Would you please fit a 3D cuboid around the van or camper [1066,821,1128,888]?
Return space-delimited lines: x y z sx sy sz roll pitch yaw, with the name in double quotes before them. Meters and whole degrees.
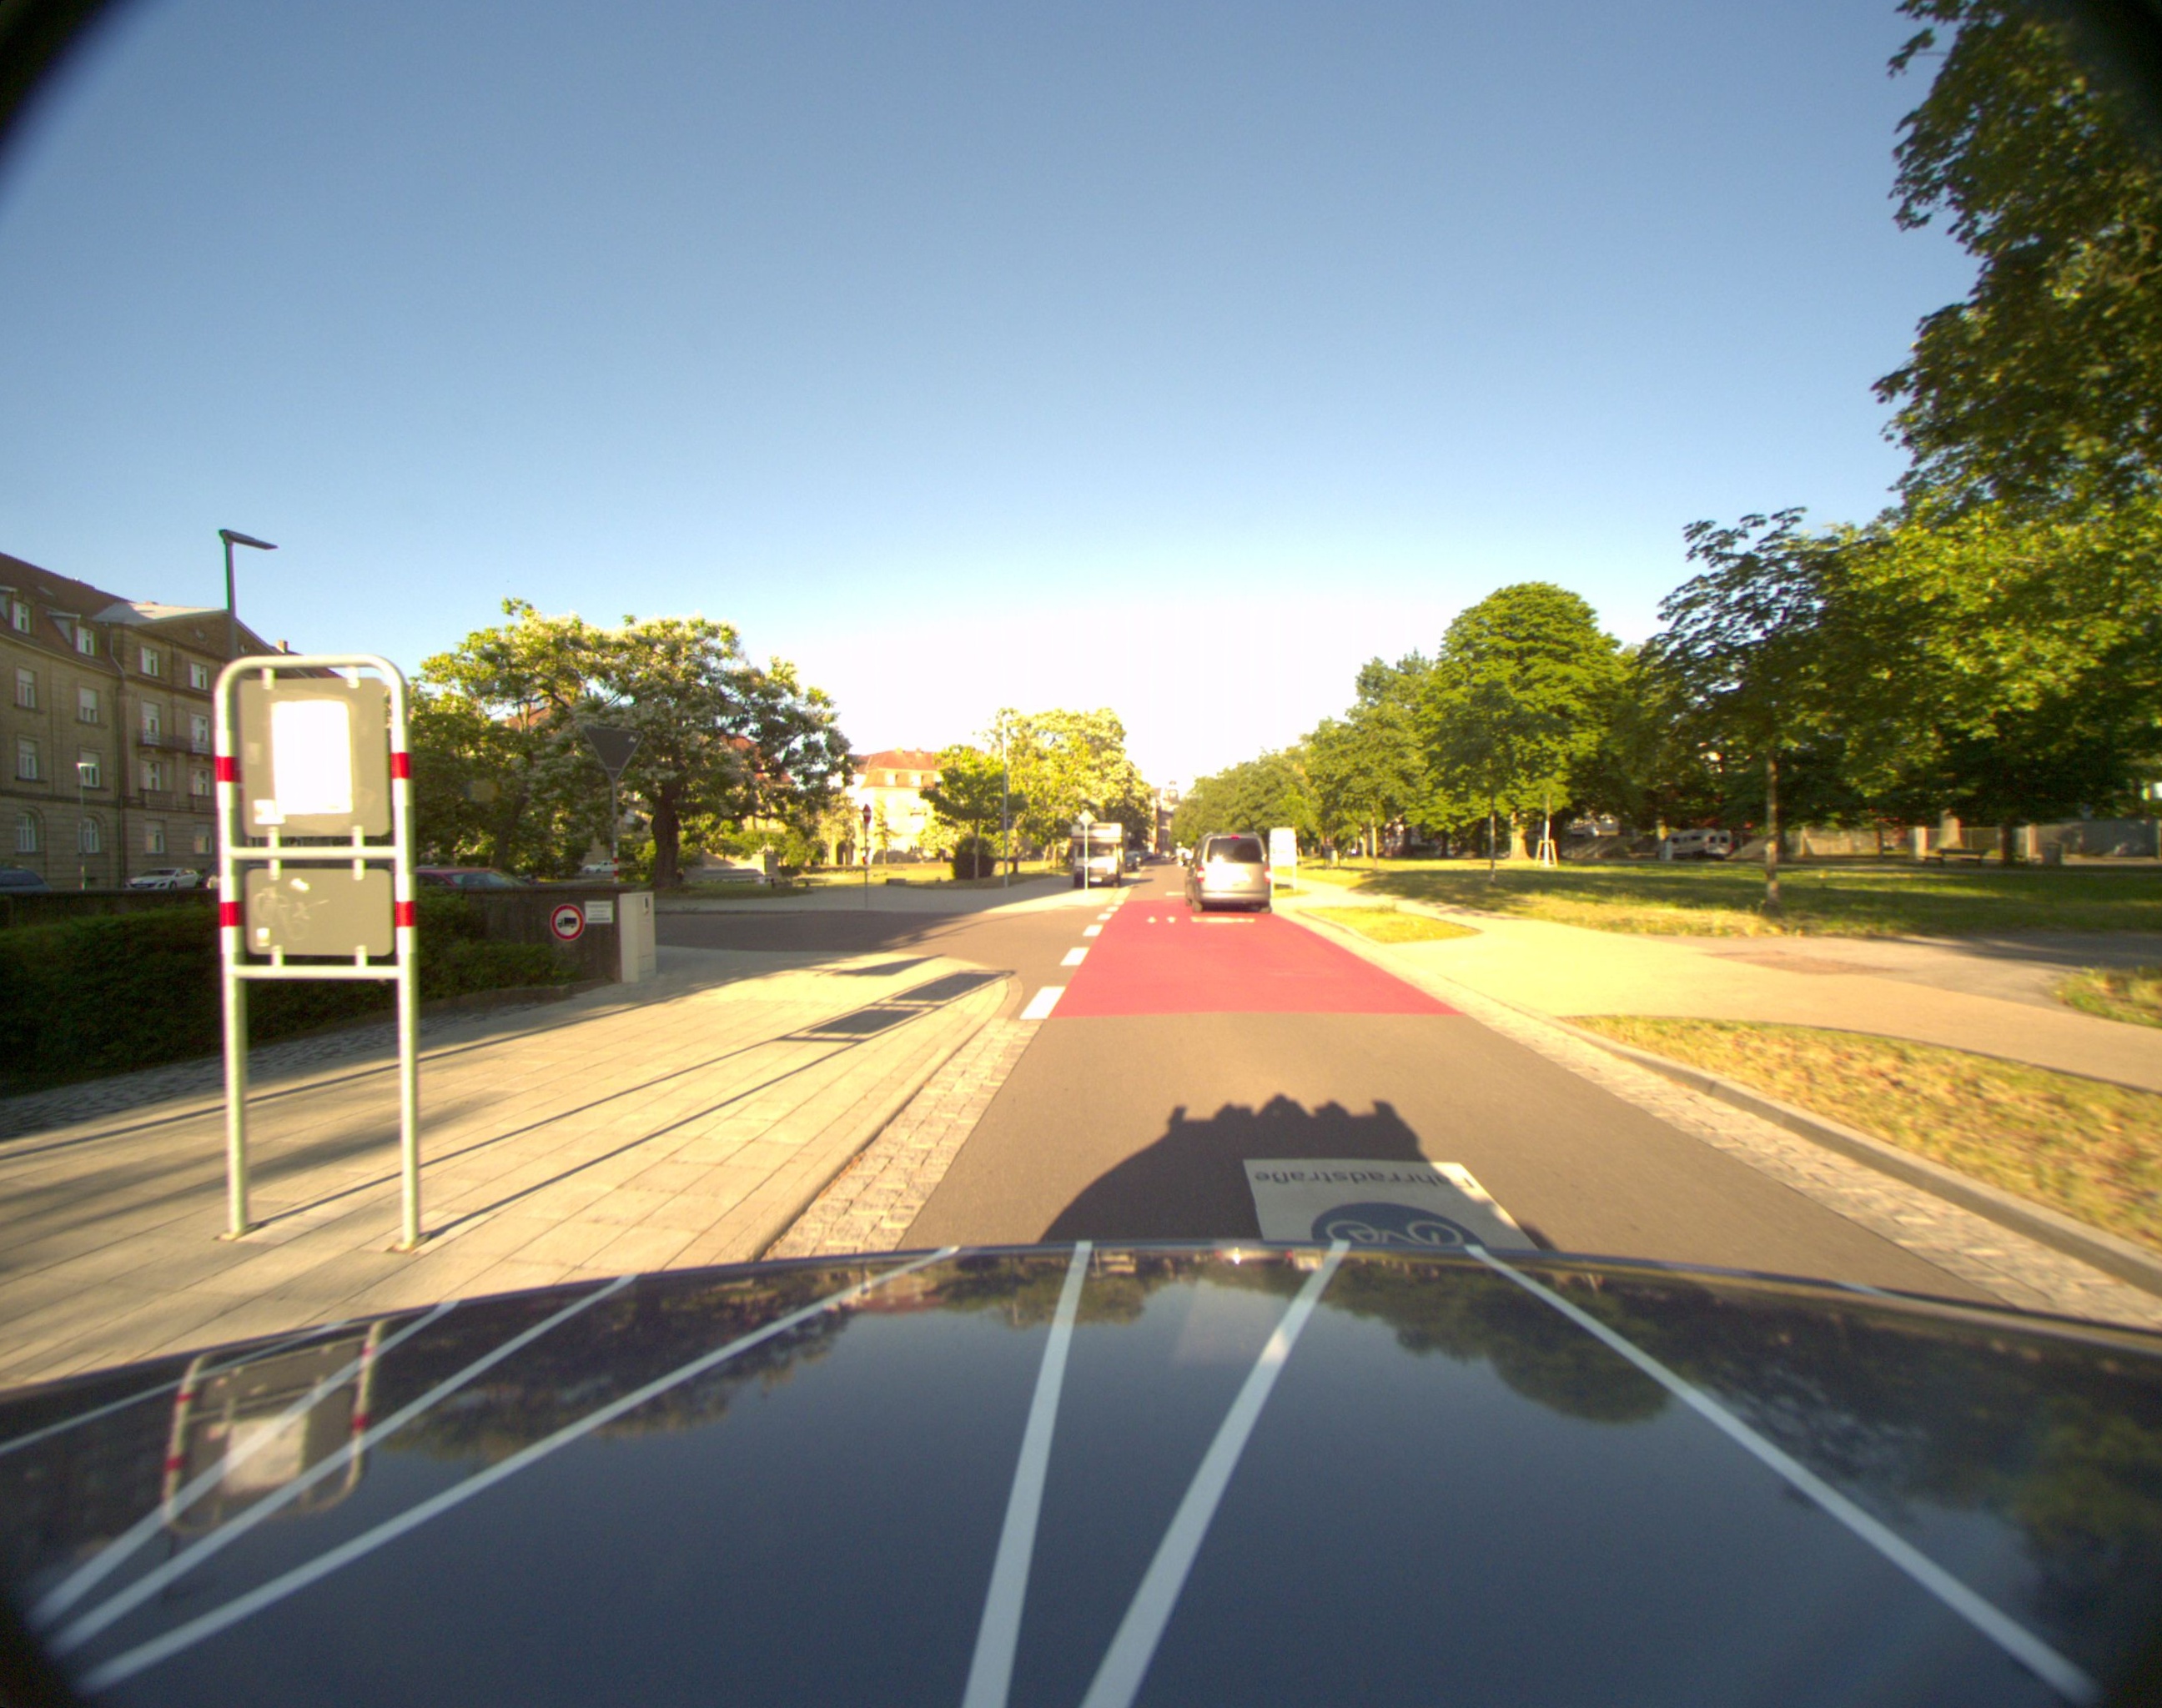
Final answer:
"van or camper" 0.852 -0.014 34.915 2.426 2.767 5.954 1 1 4

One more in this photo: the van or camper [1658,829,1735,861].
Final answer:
"van or camper" 49.206 -0.697 60.957 1.998 2.425 5.468 -2 0 4

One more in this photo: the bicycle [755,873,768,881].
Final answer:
"bicycle" -26.814 1.902 63.759 0.907 0.648 0.438 -2 0 -33

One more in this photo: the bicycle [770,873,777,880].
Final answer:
"bicycle" -26.021 1.926 64.312 0.488 0.579 0.438 -2 1 -33

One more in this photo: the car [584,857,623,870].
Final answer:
"car" -56.385 1.098 89.805 1.723 1.489 3.709 -2 -1 12

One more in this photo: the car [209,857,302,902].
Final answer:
"car" -31.085 0.970 28.585 3.694 1.617 1.730 -2 -1 32

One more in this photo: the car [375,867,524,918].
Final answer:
"car" -18.782 1.132 22.596 3.991 1.419 1.729 -2 -1 23

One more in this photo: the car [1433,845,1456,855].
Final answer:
"car" 54.546 -0.620 114.145 1.796 1.455 4.001 -2 0 5

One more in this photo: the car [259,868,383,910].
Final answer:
"car" -24.720 1.141 24.708 3.695 1.289 1.729 -2 -1 26

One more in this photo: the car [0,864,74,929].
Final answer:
"car" -28.774 1.119 20.336 4.036 1.568 1.709 -1 2 31

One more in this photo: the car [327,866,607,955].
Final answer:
"car" -11.493 1.035 14.355 4.041 1.412 1.790 -2 3 9

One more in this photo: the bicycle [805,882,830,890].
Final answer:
"bicycle" -16.453 1.989 47.453 0.658 0.380 1.933 -1 0 8

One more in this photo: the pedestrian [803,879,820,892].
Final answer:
"pedestrian" -15.952 1.867 45.032 0.497 0.760 0.812 -1 -1 45

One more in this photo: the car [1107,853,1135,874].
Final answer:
"car" 3.169 0.716 59.310 1.998 1.501 4.001 -2 0 5

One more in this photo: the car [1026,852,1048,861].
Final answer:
"car" -7.933 0.488 136.624 3.705 1.490 1.724 -2 0 -12

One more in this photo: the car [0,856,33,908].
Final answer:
"car" -39.485 1.038 27.335 4.035 1.785 1.710 -2 0 41

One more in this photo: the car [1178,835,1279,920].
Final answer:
"car" 3.491 0.484 18.770 1.848 1.837 4.573 0 1 3

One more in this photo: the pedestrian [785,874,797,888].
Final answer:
"pedestrian" -17.678 1.645 46.296 0.453 0.830 0.499 -1 1 39

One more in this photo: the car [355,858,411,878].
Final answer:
"car" -54.430 1.082 59.335 1.727 1.489 3.700 -1 -1 -17
